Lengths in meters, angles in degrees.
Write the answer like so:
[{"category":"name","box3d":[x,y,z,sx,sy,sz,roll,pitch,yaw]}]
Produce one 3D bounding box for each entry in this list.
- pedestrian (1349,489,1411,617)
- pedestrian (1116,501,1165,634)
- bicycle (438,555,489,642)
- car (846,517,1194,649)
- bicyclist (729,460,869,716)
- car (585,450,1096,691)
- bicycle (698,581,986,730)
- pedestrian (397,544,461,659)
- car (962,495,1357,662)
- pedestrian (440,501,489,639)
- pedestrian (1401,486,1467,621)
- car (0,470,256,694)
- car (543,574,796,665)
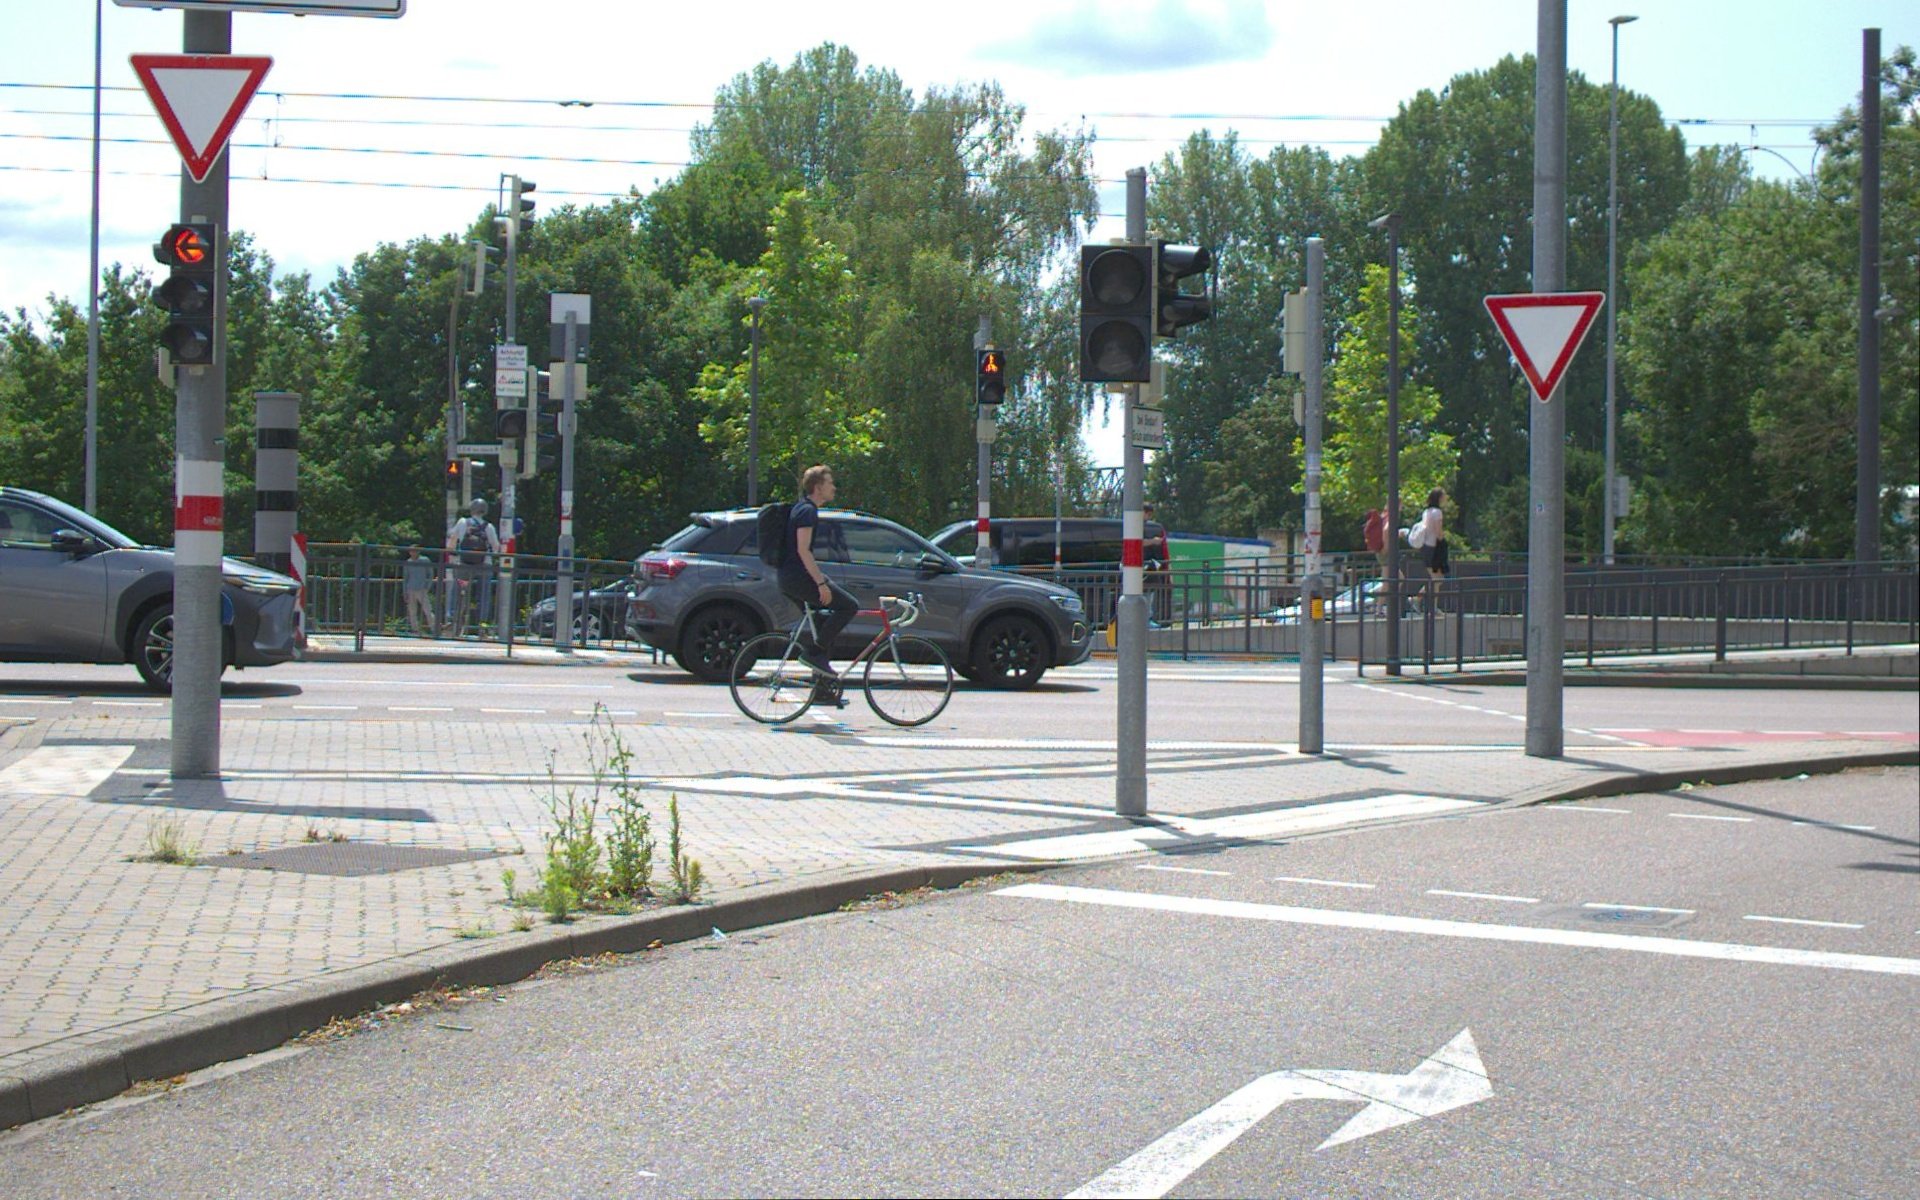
[{"category":"pedestrian","box3d":[5.639,-0.631,46.174,0.706,1.715,0.601,0,1,-7]},{"category":"pedestrian","box3d":[2.343,-0.429,44.736,0.523,1.715,0.730,0,1,-6]},{"category":"bicycle","box3d":[-6.422,-0.028,44.524,0.619,1.084,1.723,1,1,-8]},{"category":"car","box3d":[0.821,-0.246,48.895,4.650,1.814,2.001,0,1,-10]},{"category":"bicyclist","box3d":[-1.184,-0.088,25.218,0.920,1.840,0.611,1,1,-10]},{"category":"car","box3d":[-1.137,-0.264,31.281,4.347,1.982,2.001,2,1,-10]},{"category":"bicycle","box3d":[-0.875,0.408,25.285,2.016,0.996,0.622,2,1,-10]},{"category":"pedestrian","box3d":[-9.388,0.016,60.737,0.981,2.007,0.903,0,1,-18]},{"category":"car","box3d":[2.167,-0.249,37.913,3.986,1.777,1.910,0,1,-11]},{"category":"pedestrian","box3d":[-6.409,-0.386,44.485,0.611,1.763,0.672,1,1,-8]},{"category":"pedestrian","box3d":[6.247,-0.616,45.339,0.676,1.742,0.637,1,2,-7]},{"category":"car","box3d":[-7.932,-0.193,27.238,4.503,1.669,1.904,2,0,-10]},{"category":"car","box3d":[-4.803,0.314,56.750,3.878,1.404,1.671,1,1,-17]}]
